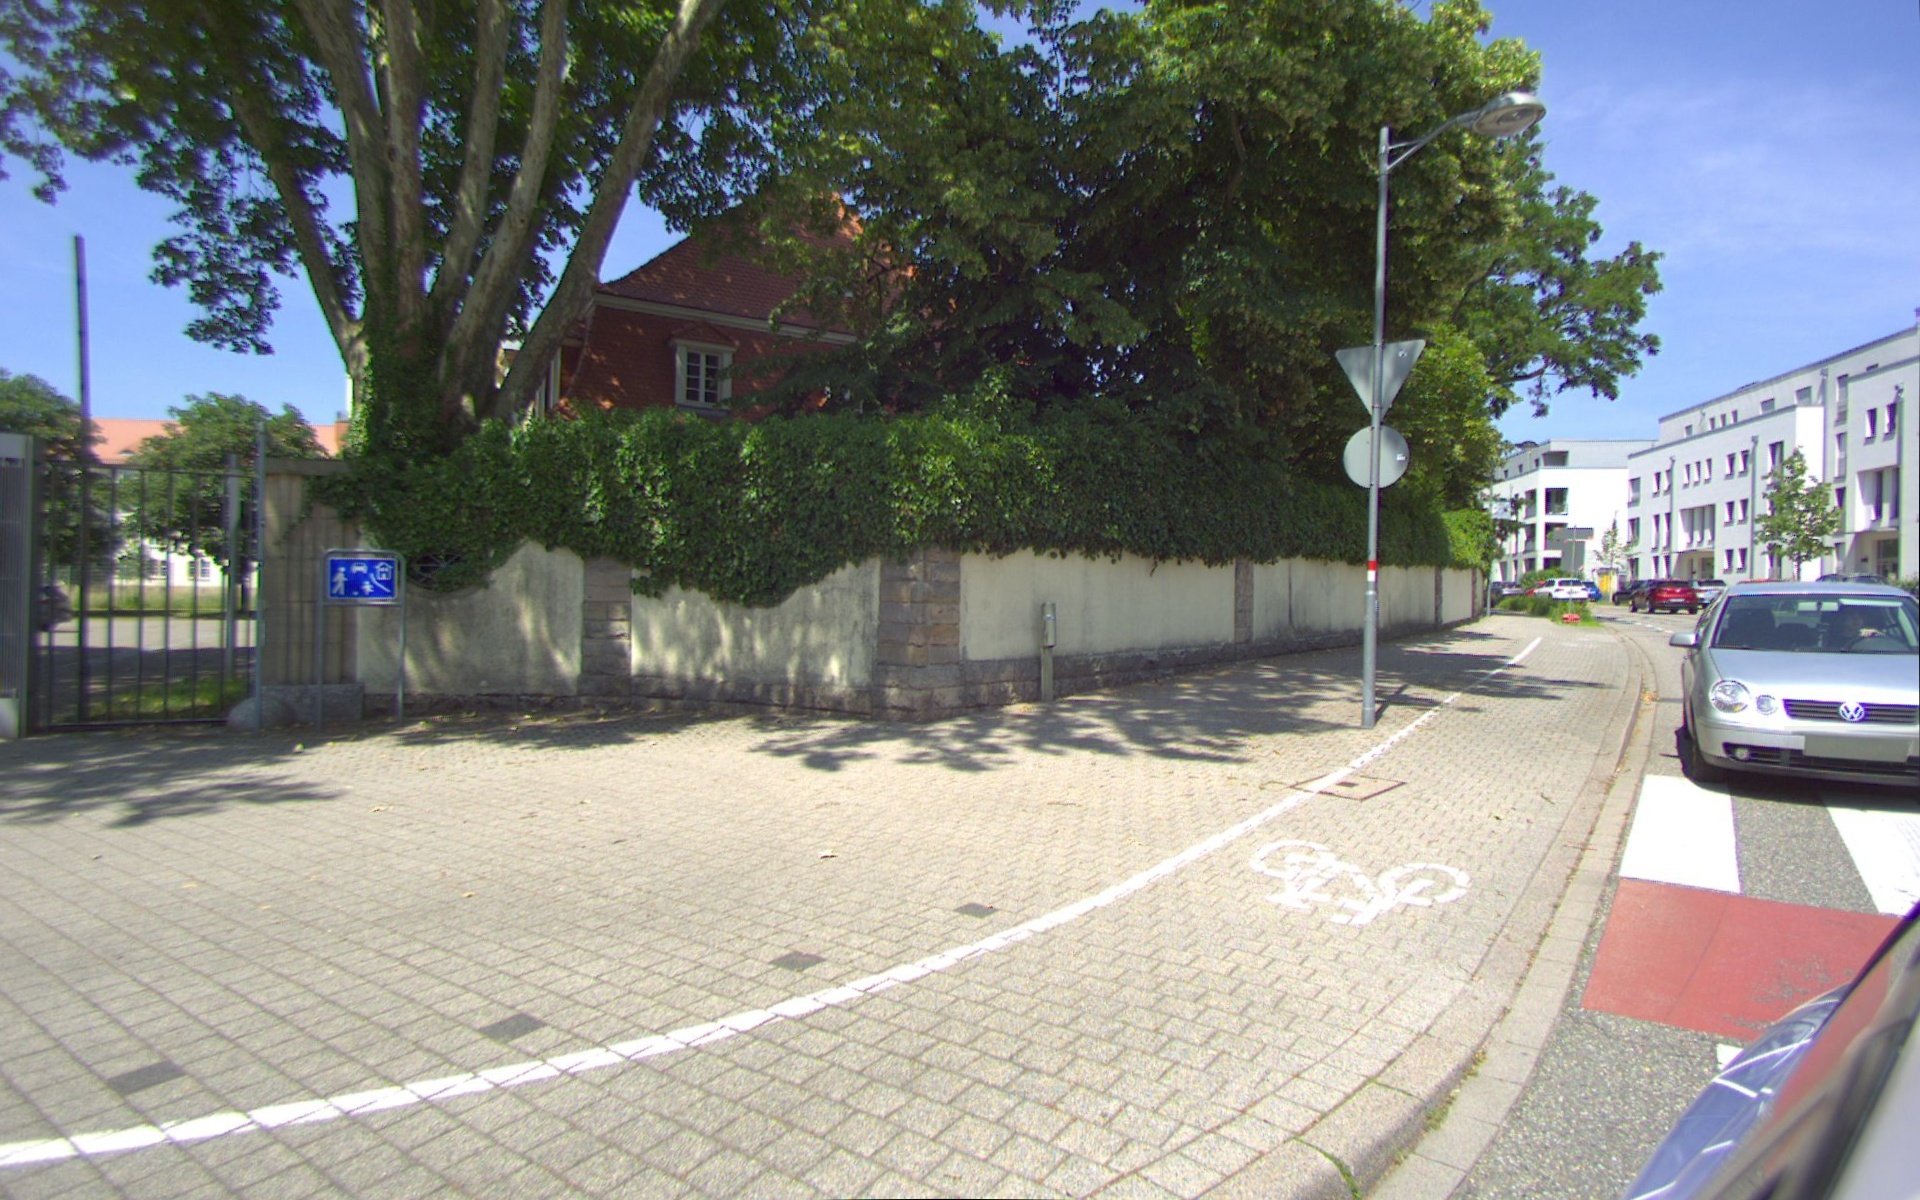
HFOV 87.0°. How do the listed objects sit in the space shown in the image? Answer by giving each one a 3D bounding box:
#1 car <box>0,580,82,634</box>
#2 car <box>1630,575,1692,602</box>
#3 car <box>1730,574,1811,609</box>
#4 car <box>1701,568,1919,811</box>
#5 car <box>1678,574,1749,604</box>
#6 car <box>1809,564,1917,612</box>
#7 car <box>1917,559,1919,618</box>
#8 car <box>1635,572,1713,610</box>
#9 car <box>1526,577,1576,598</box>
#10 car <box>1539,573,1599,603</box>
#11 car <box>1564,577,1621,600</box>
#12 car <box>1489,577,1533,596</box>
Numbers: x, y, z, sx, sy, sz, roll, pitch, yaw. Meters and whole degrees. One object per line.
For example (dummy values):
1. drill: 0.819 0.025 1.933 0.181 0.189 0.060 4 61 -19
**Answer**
1. car: -28.581 0.115 29.217 4.408 1.421 2.003 4 -1 -26
2. car: 38.483 -0.639 55.622 1.683 1.431 3.703 0 1 16
3. car: 34.739 -0.402 43.468 1.687 1.431 3.602 0 1 21
4. car: 6.751 0.493 7.854 1.599 1.470 3.948 0 1 37
5. car: 36.816 -0.567 49.542 1.685 1.431 3.700 0 1 19
6. car: 31.785 -0.446 35.731 1.771 1.609 3.600 0 1 23
7. car: 27.589 -0.292 27.274 1.684 1.721 3.593 0 1 28
8. car: 30.504 -0.393 43.348 1.735 1.523 3.966 0 1 20
9. car: 41.450 -0.874 71.074 1.678 1.431 3.715 -1 1 7
10. car: 34.741 -0.726 57.839 1.789 1.628 4.104 0 1 14
11. car: 40.845 -0.760 65.461 1.678 1.431 3.715 -1 1 7
12. car: 42.139 -1.030 77.485 1.678 1.431 3.715 -1 1 7
